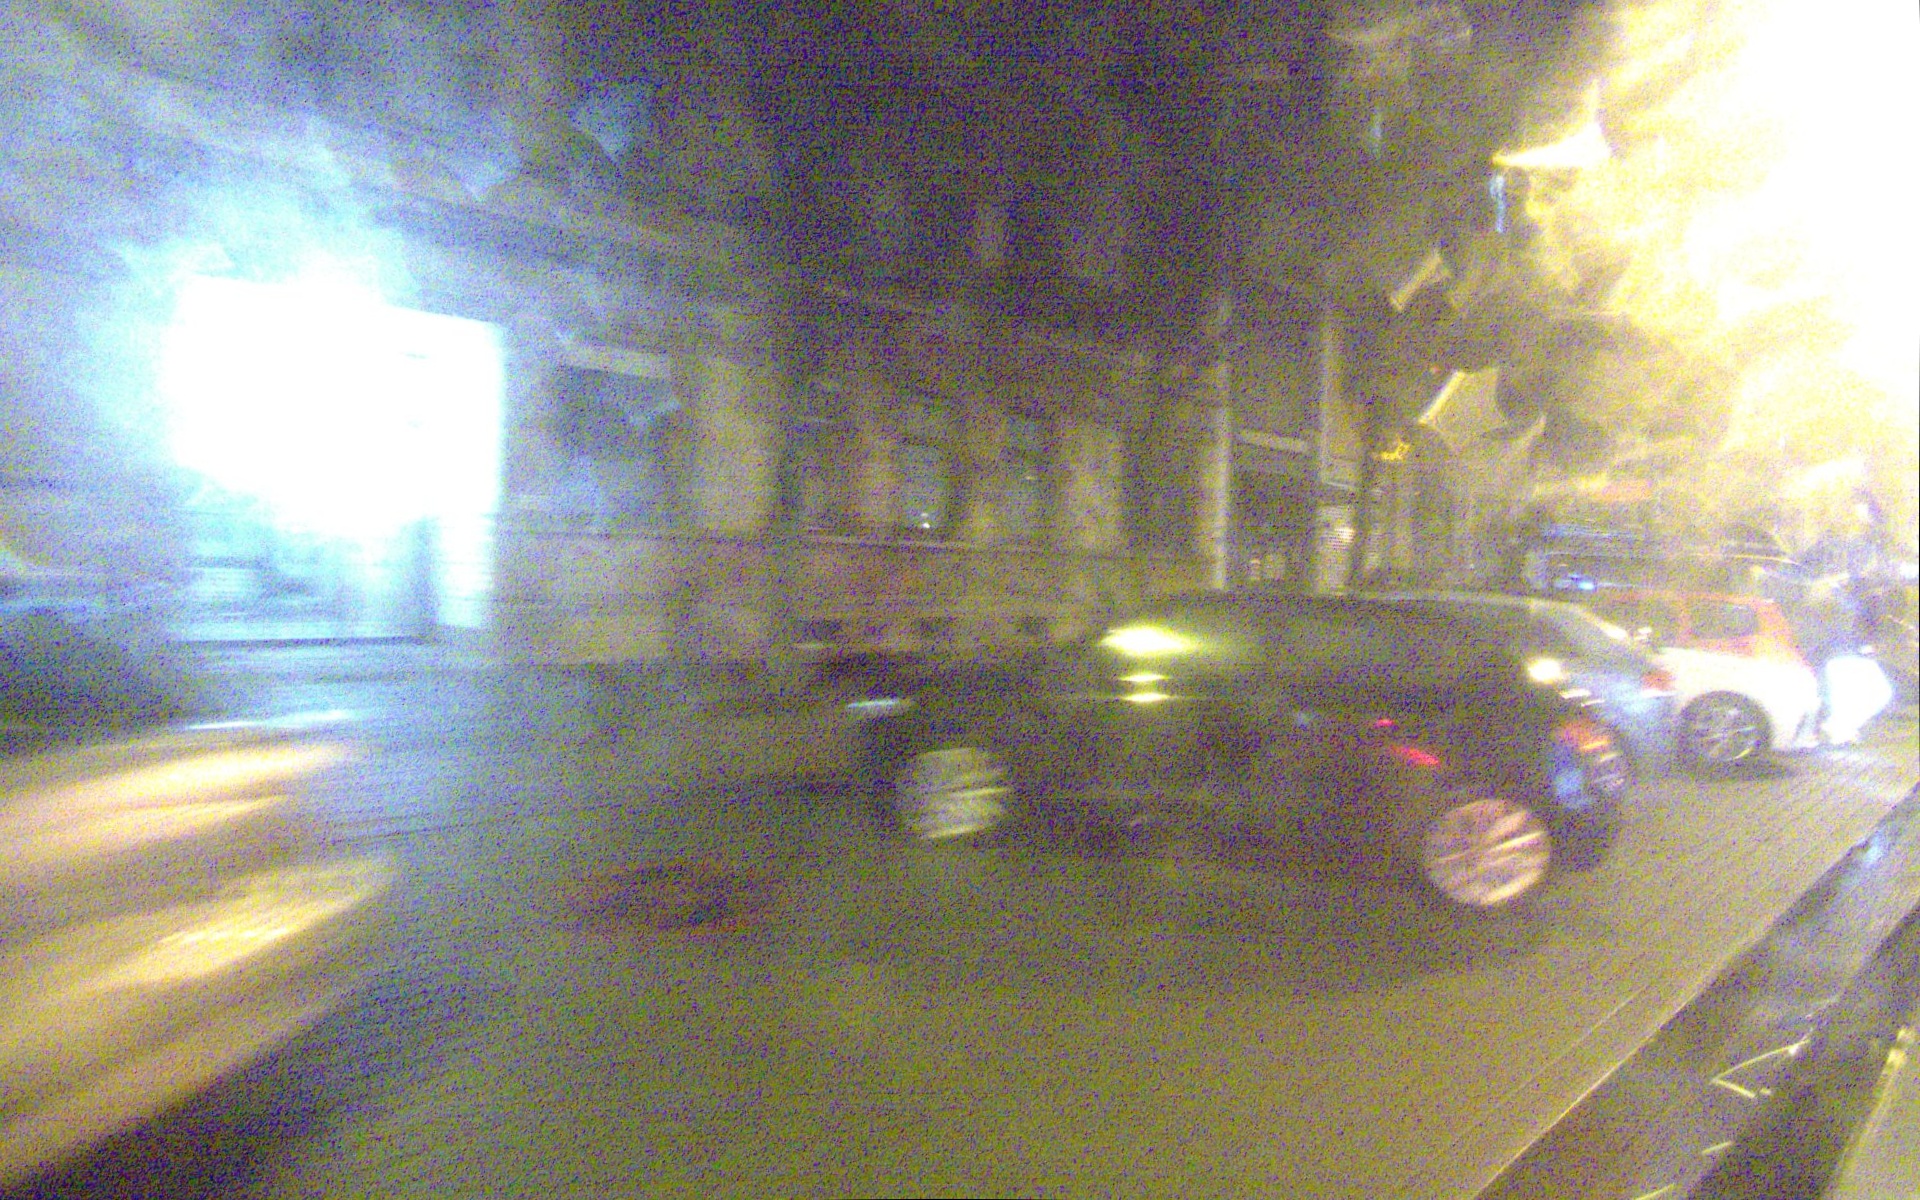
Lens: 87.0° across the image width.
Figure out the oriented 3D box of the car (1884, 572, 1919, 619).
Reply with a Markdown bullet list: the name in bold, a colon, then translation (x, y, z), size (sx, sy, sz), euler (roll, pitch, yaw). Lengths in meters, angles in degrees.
- **car**: translation (51.348, -0.175, 52.189), size (4.872, 2.369, 2.221), euler (2, 2, 16)

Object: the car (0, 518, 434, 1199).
- **car**: translation (-3.534, 0.496, 2.445), size (3.944, 1.469, 1.681), euler (3, 3, 16)

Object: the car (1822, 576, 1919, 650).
- **car**: translation (24.980, 0.367, 25.834), size (4.060, 1.786, 1.845), euler (2, 1, 23)

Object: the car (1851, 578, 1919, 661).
- **car**: translation (22.033, 0.412, 21.869), size (3.754, 1.750, 1.731), euler (0, 0, 19)

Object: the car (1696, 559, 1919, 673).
- **car**: translation (16.623, 0.276, 18.891), size (4.186, 1.881, 1.710), euler (3, 3, 15)

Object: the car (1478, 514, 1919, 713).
- **car**: translation (9.692, 0.089, 13.343), size (4.656, 2.275, 1.939), euler (2, 2, 14)

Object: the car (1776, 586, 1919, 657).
- **car**: translation (22.412, 0.490, 24.269), size (4.012, 1.631, 1.832), euler (1, 0, 21)

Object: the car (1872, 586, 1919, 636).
- **car**: translation (32.419, 0.424, 32.921), size (3.674, 1.541, 1.643), euler (4, 3, 25)

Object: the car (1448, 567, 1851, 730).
- **car**: translation (7.560, 0.452, 11.448), size (3.350, 1.561, 1.571), euler (2, 2, 14)

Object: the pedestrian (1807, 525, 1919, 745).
- **pedestrian**: translation (8.887, 0.317, 9.877), size (0.635, 2.038, 0.673), euler (3, 2, 19)

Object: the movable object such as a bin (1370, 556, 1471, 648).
- **movable object such as a bin**: translation (8.117, 0.019, 17.850), size (0.981, 1.468, 1.212), euler (0, 6, -40)

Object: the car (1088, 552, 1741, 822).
- **car**: translation (3.041, 0.479, 7.623), size (3.939, 1.571, 1.993), euler (2, 2, 13)

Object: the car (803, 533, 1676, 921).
- **car**: translation (1.309, 0.473, 5.663), size (3.943, 1.571, 1.797), euler (2, 2, 15)

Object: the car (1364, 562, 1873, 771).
- **car**: translation (5.736, 0.479, 9.353), size (3.608, 1.561, 1.550), euler (2, 2, 20)

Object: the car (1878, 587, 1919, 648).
- **car**: translation (27.483, 0.477, 27.408), size (3.533, 1.631, 1.696), euler (1, 0, 29)

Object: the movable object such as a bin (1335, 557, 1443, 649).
- **movable object such as a bin**: translation (7.230, 0.031, 17.083), size (0.981, 1.388, 1.259), euler (0, 6, -40)

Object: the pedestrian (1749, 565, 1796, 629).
- **pedestrian**: translation (24.980, -0.114, 31.120), size (0.932, 1.856, 0.840), euler (-2, 7, -44)
